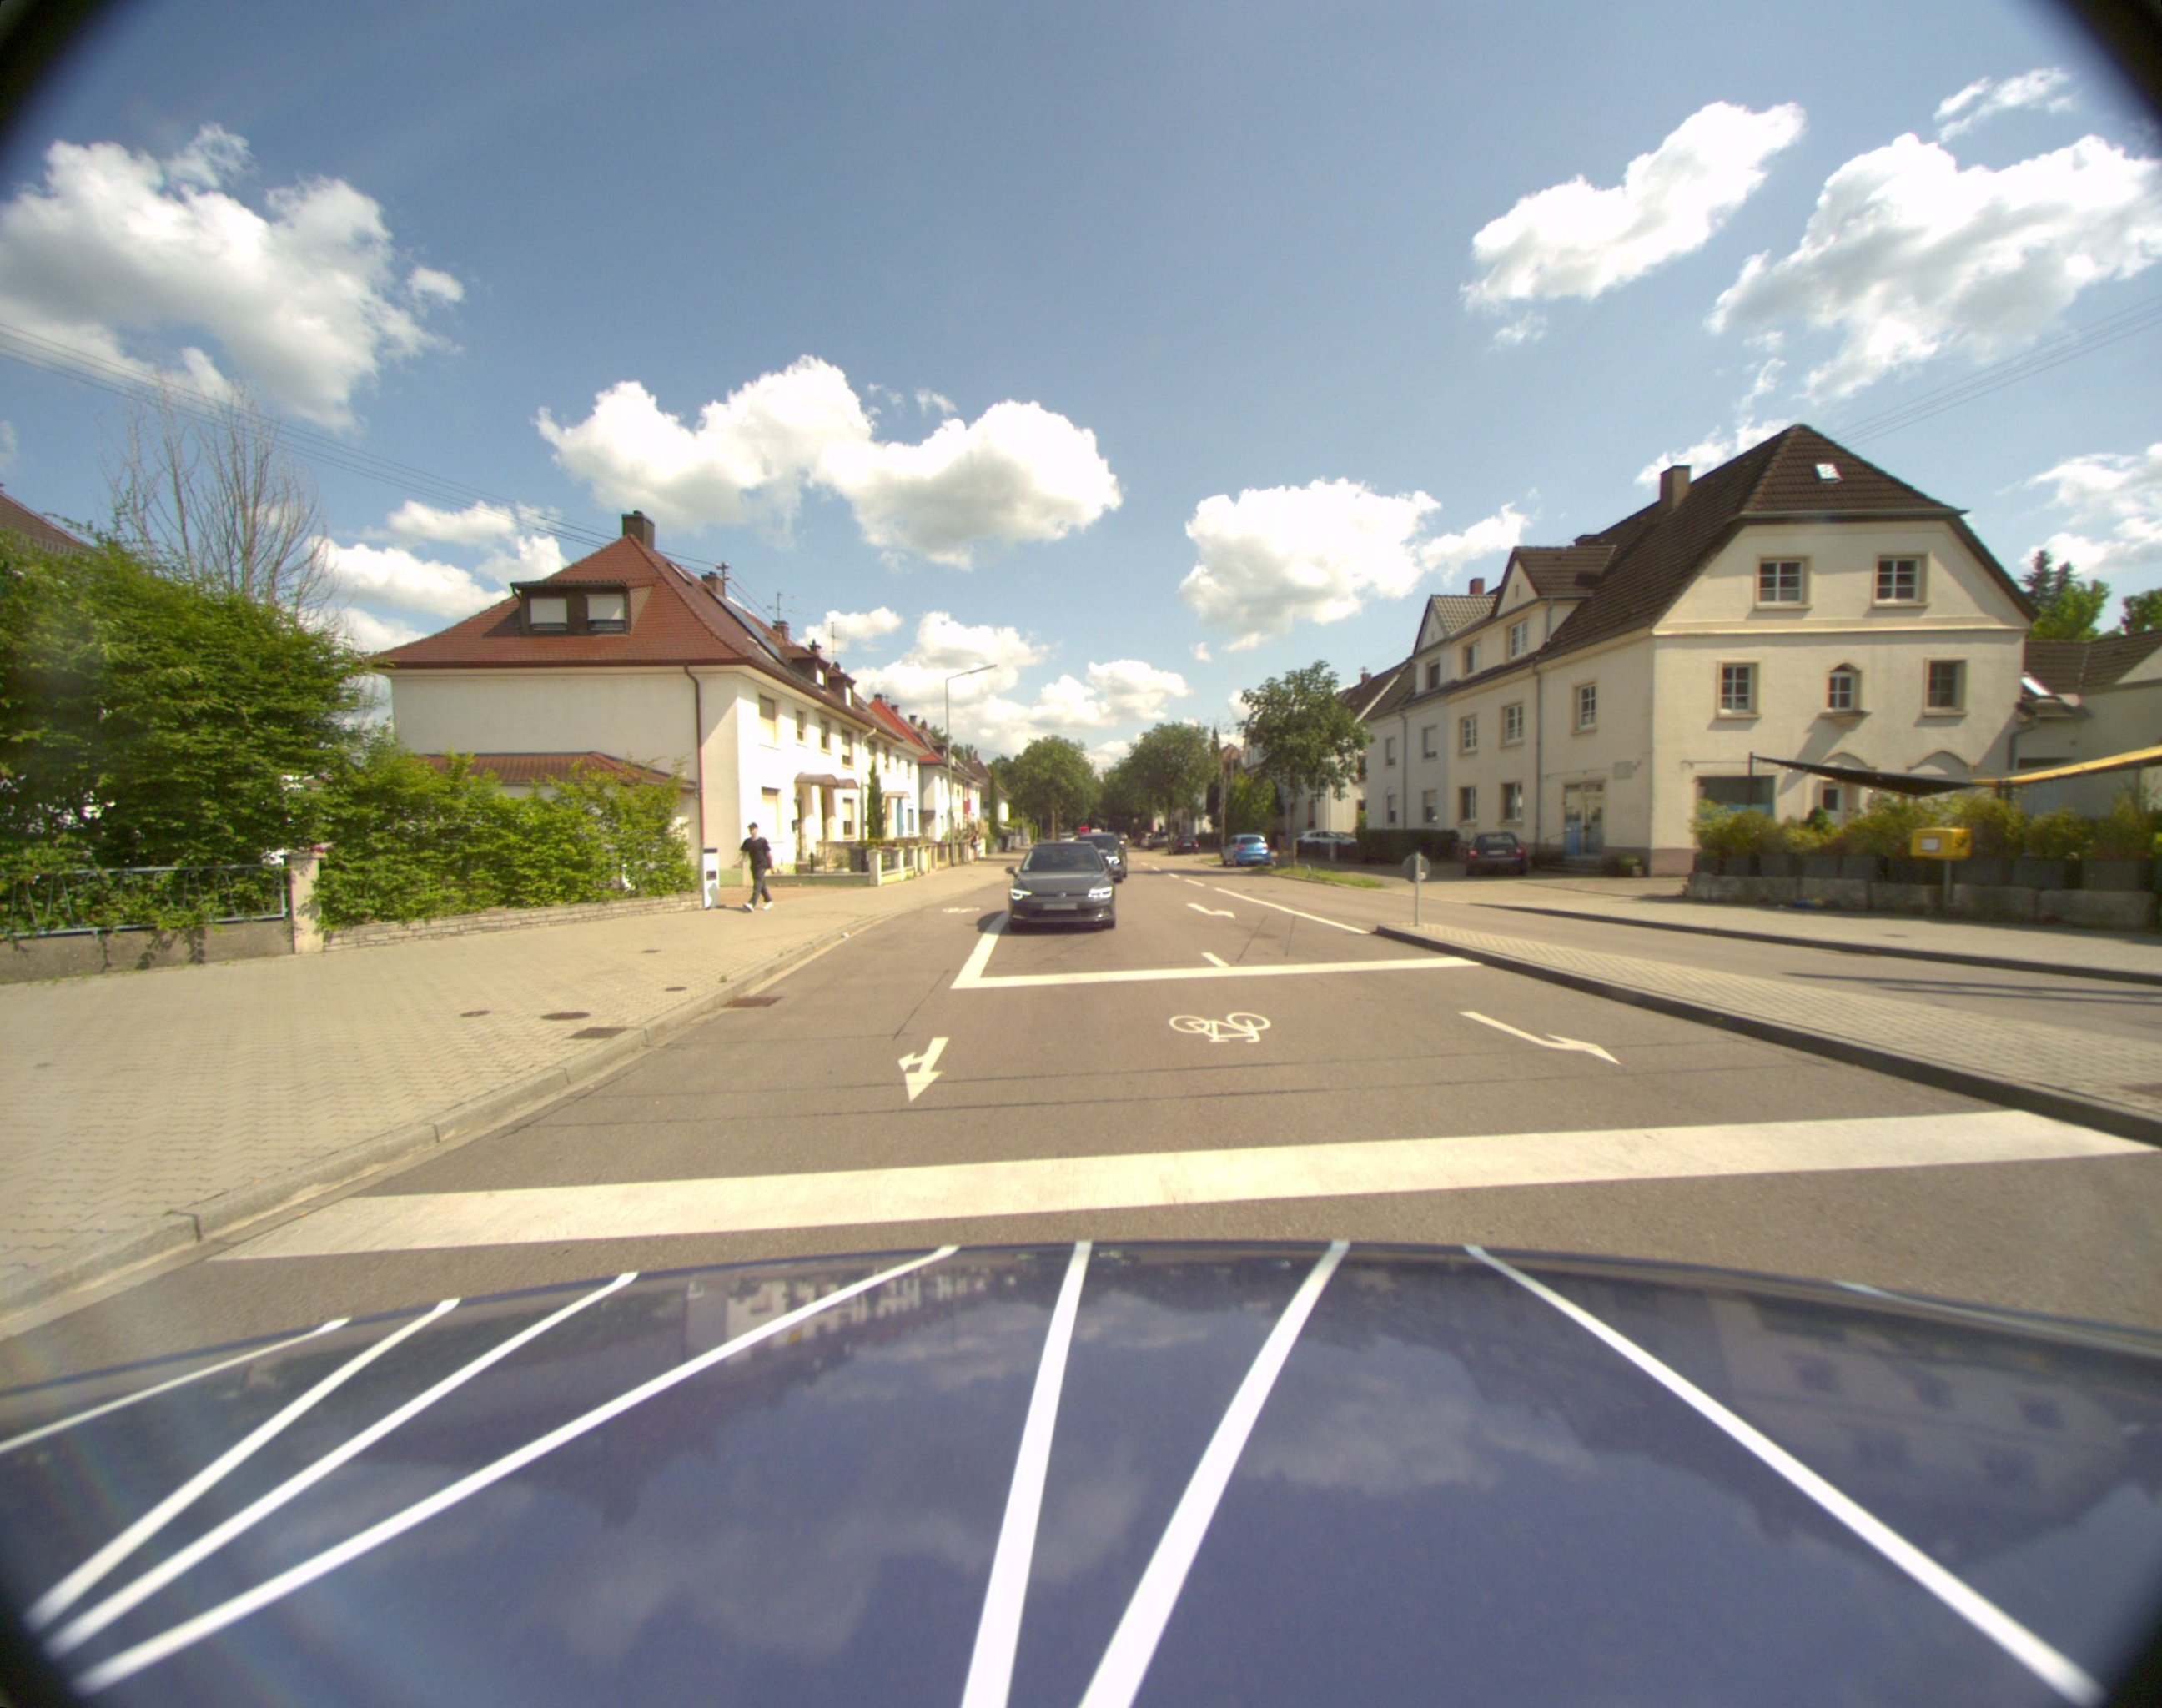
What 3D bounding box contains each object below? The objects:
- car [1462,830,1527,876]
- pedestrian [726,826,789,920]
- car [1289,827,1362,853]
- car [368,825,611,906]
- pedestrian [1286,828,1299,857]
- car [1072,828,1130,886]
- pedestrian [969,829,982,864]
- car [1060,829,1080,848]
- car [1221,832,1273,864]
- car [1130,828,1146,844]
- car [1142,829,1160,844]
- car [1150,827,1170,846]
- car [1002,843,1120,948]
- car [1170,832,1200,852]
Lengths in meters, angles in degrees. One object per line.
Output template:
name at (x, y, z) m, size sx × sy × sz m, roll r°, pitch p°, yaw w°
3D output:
car at (13.812, -0.106, 25.416) m, size 1.757 × 1.379 × 4.109 m, roll 1°, pitch 2°, yaw 29°
pedestrian at (-6.269, 0.336, 14.743) m, size 0.591 × 1.758 × 0.939 m, roll 1°, pitch 3°, yaw 26°
car at (14.424, -0.844, 45.021) m, size 3.805 × 1.446 × 1.710 m, roll -1°, pitch 2°, yaw 2°
car at (-13.278, 0.218, 17.247) m, size 3.997 × 1.699 × 1.867 m, roll -1°, pitch 2°, yaw 1°
pedestrian at (11.577, -0.634, 41.556) m, size 0.631 × 1.527 × 0.618 m, roll 0°, pitch 3°, yaw 11°
car at (0.593, 0.004, 25.836) m, size 1.776 × 1.754 × 4.872 m, roll -1°, pitch 2°, yaw -1°
pedestrian at (-5.184, -0.378, 37.311) m, size 0.519 × 1.702 × 0.618 m, roll -1°, pitch 3°, yaw 0°
car at (-0.902, -1.299, 63.787) m, size 1.381 × 1.494 × 3.001 m, roll -1°, pitch 2°, yaw 4°
car at (7.772, -0.319, 35.834) m, size 1.710 × 1.454 × 3.153 m, roll -1°, pitch 2°, yaw -2°
car at (6.220, -2.003, 82.604) m, size 1.562 × 1.646 × 3.250 m, roll -1°, pitch 2°, yaw 2°
car at (6.769, -1.700, 73.586) m, size 1.623 × 1.417 × 3.001 m, roll -1°, pitch 2°, yaw 4°
car at (7.022, -1.584, 67.584) m, size 1.562 × 1.646 × 3.572 m, roll -1°, pitch 2°, yaw 2°
car at (-0.418, 0.584, 13.747) m, size 1.767 × 1.466 × 4.684 m, roll -1°, pitch 2°, yaw -3°
car at (7.290, -0.872, 53.553) m, size 1.709 × 1.289 × 3.917 m, roll -1°, pitch 2°, yaw 2°
